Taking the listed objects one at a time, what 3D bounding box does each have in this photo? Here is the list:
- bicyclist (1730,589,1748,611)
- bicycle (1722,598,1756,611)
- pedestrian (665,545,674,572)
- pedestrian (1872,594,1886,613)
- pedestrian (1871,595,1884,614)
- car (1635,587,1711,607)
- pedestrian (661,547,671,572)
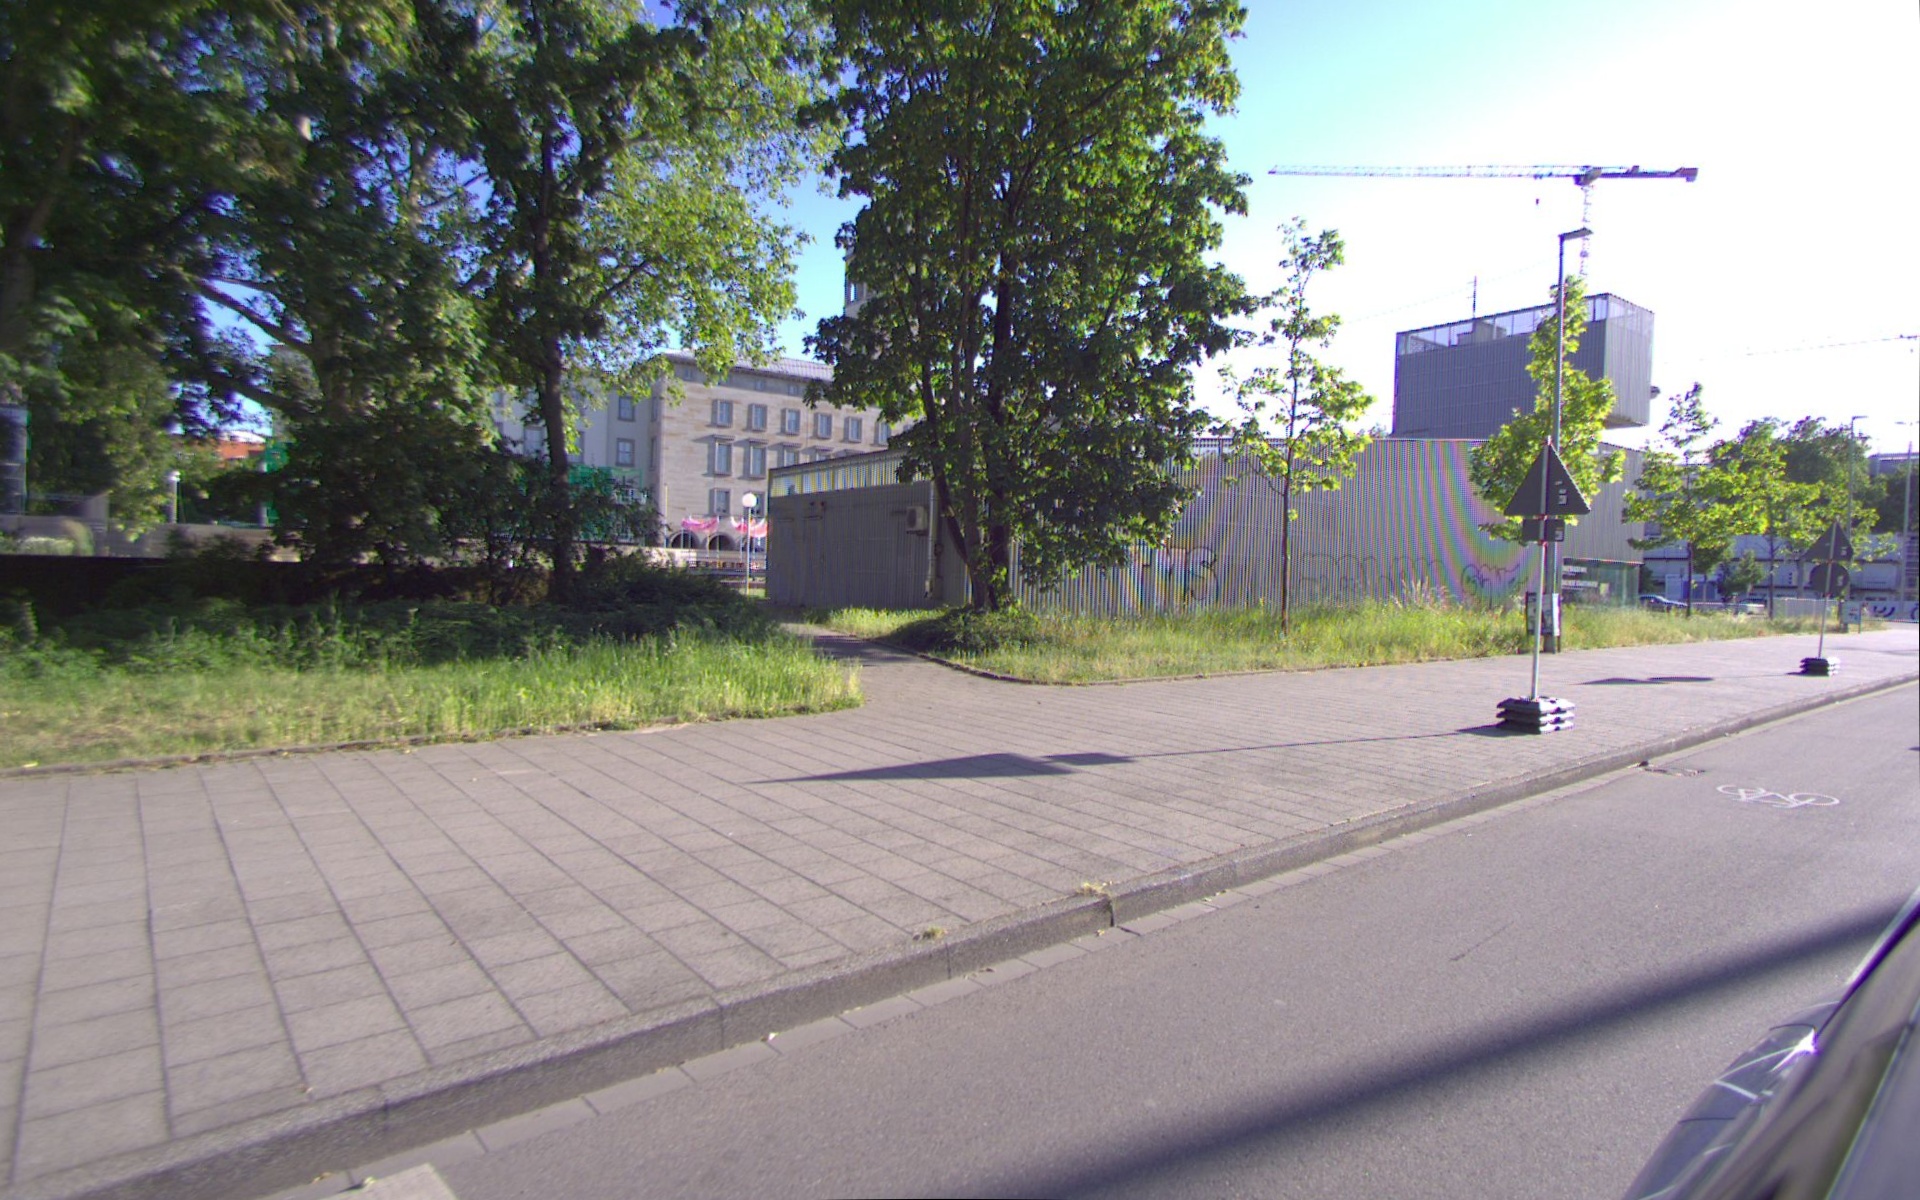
[{"bbox_3d":[57.320,-0.013,74.476,0.614,1.522,0.935,-1,2,-44],"label":"bicyclist"},{"bbox_3d":[57.319,0.317,74.474,0.614,0.920,1.906,-1,2,-44],"label":"bicycle"},{"bbox_3d":[-16.327,-2.345,56.886,0.395,1.498,0.315,2,1,-3],"label":"pedestrian"},{"bbox_3d":[81.062,0.308,89.258,0.824,1.701,0.655,1,1,-33],"label":"pedestrian"},{"bbox_3d":[80.289,0.368,88.555,0.824,1.609,0.655,1,1,-33],"label":"pedestrian"},{"bbox_3d":[55.698,-0.263,79.121,1.742,1.368,4.531,0,3,-32],"label":"car"},{"bbox_3d":[-16.190,-2.233,55.725,0.395,1.390,0.315,2,1,-3],"label":"pedestrian"}]
